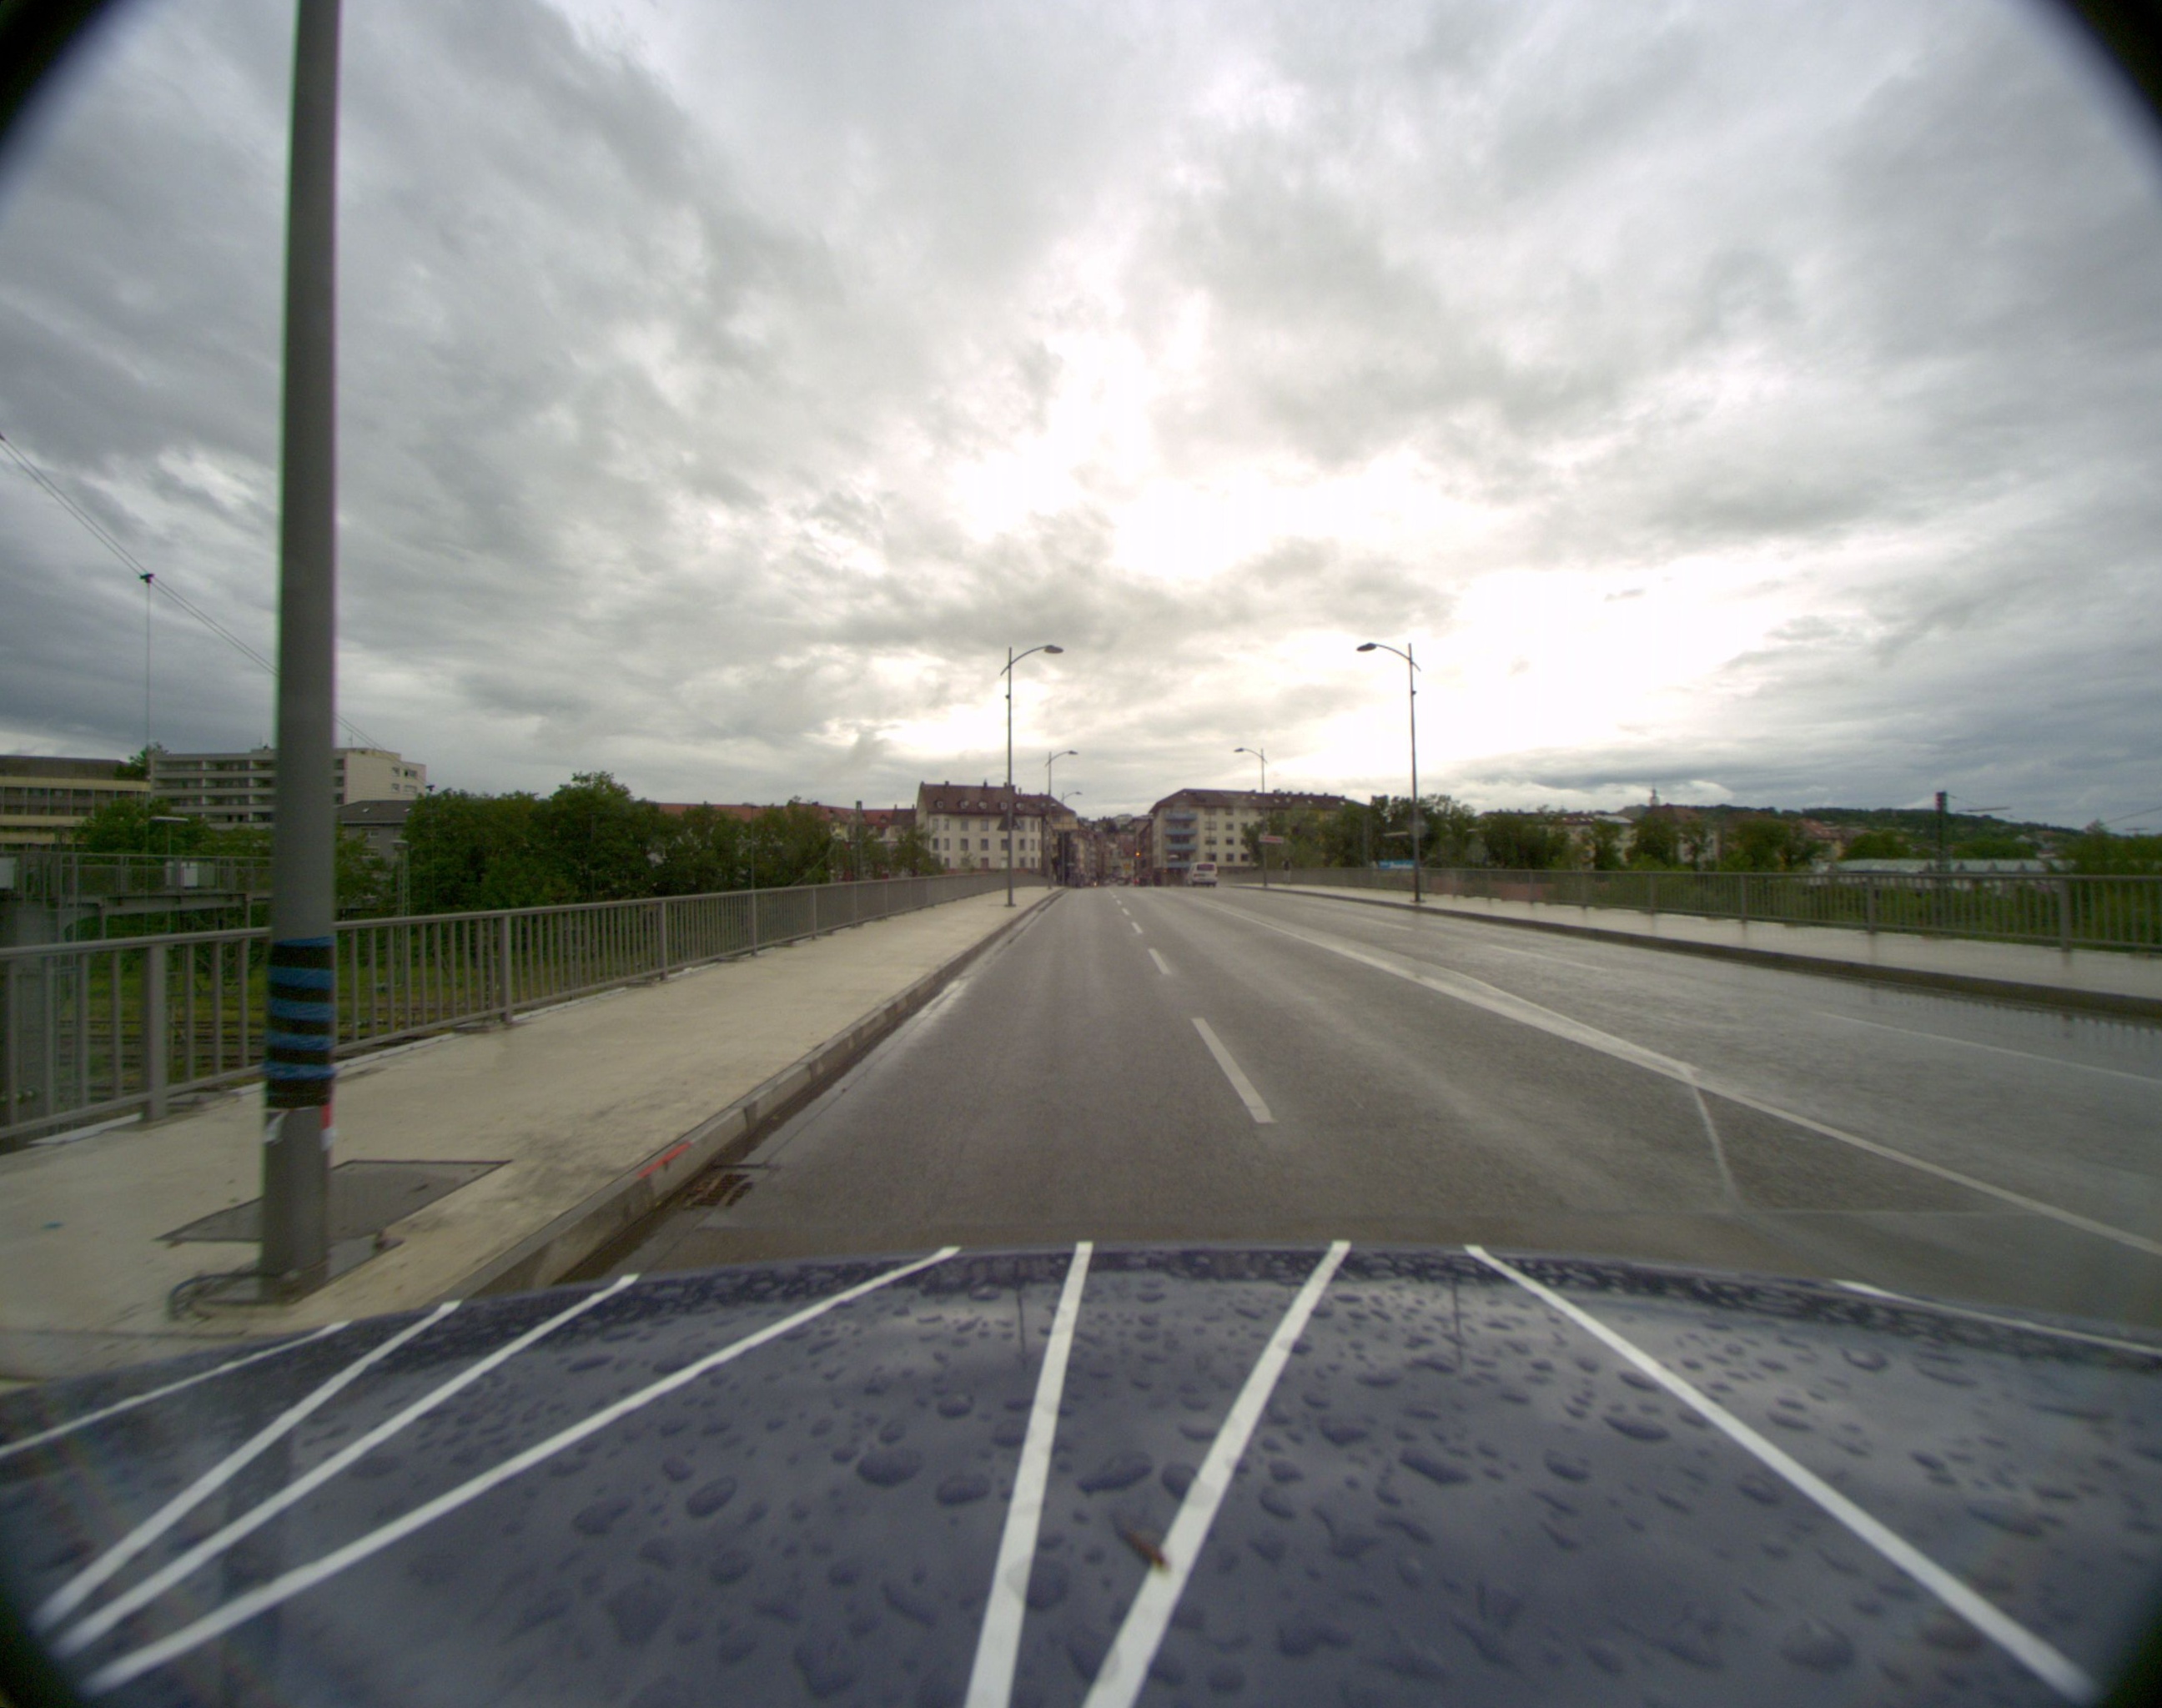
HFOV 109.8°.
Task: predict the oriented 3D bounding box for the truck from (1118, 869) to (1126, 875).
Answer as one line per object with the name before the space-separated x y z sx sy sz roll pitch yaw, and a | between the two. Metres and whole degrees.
truck | 13.075 5.766 243.127 2.475 2.001 4.821 -2 -1 1

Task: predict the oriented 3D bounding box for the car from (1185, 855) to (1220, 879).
car | 9.627 1.071 60.621 1.891 1.811 4.959 -2 -1 0
